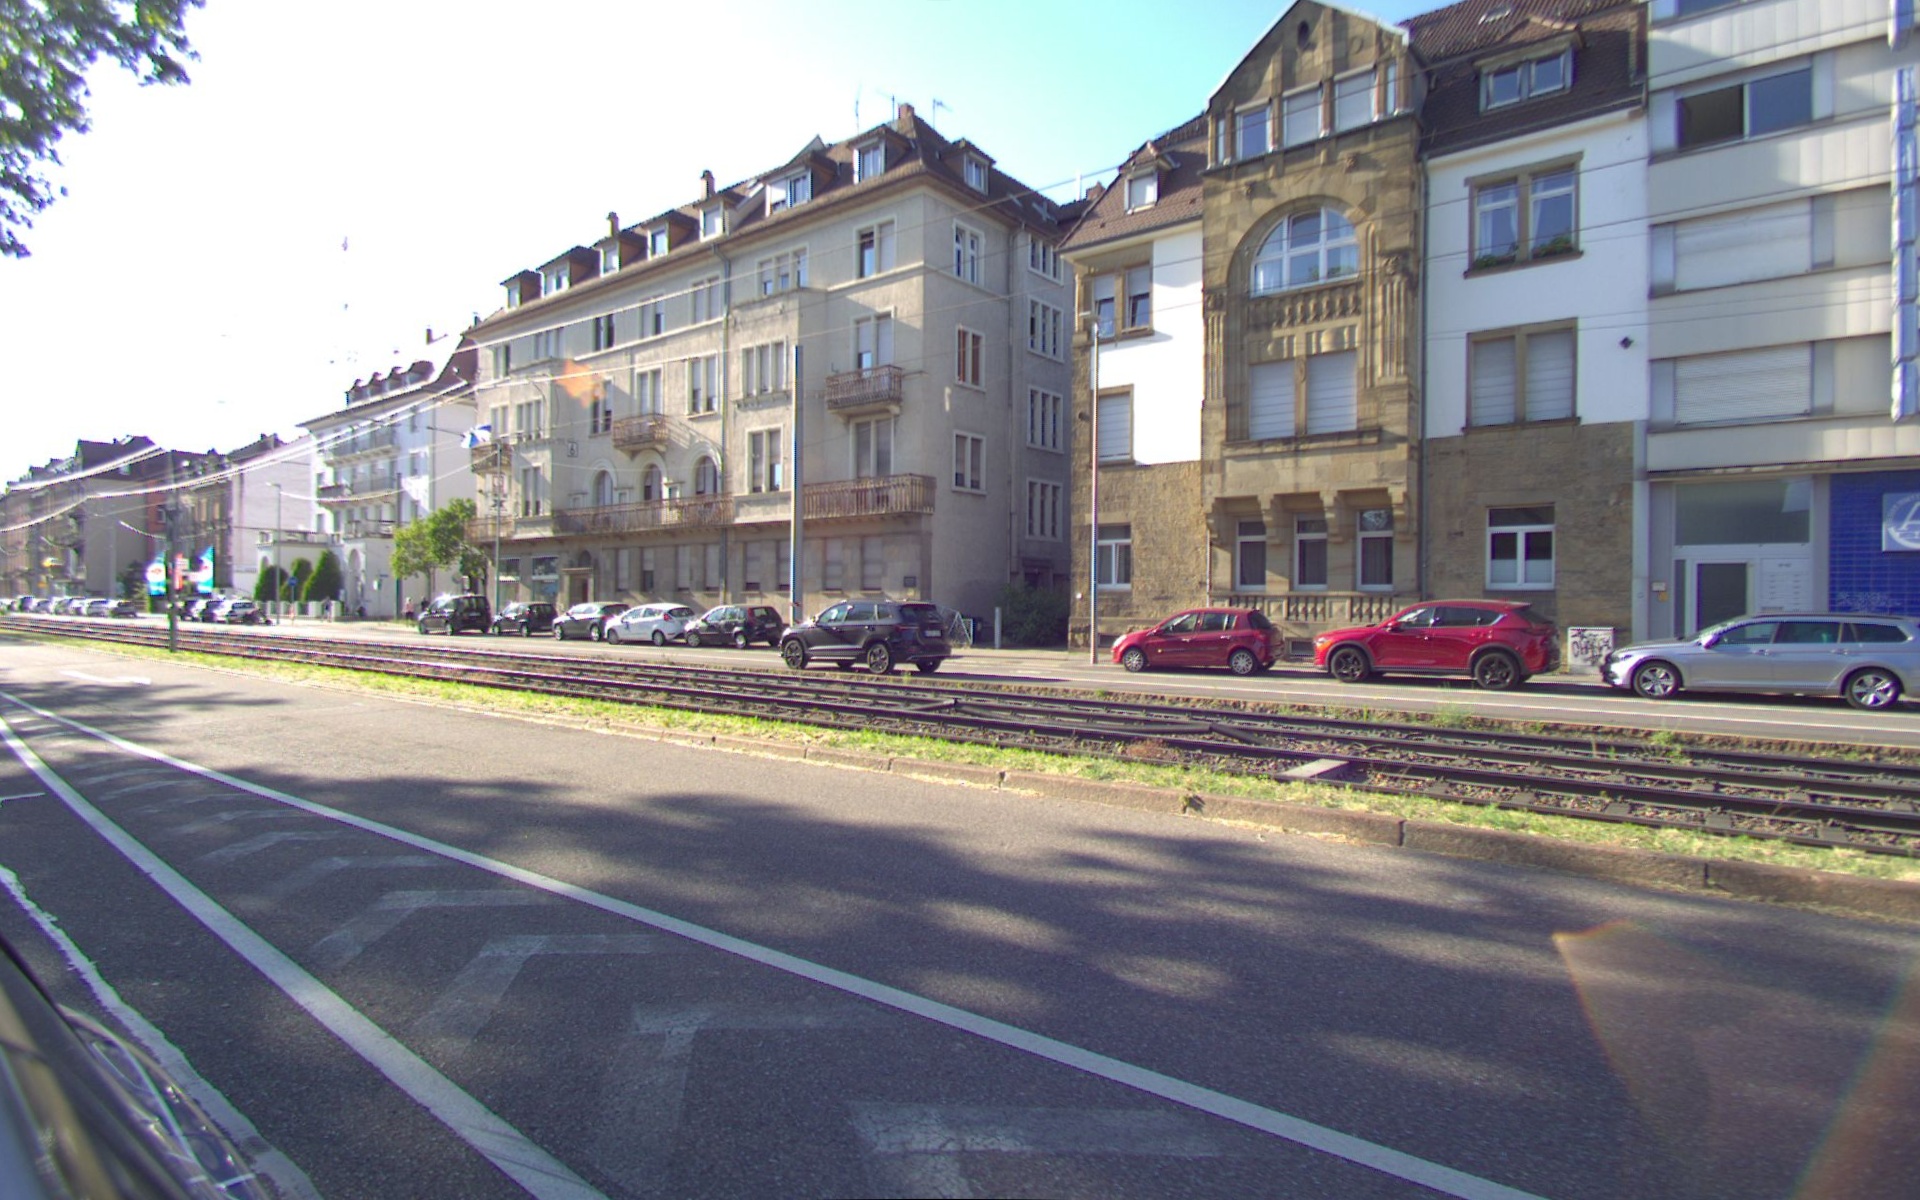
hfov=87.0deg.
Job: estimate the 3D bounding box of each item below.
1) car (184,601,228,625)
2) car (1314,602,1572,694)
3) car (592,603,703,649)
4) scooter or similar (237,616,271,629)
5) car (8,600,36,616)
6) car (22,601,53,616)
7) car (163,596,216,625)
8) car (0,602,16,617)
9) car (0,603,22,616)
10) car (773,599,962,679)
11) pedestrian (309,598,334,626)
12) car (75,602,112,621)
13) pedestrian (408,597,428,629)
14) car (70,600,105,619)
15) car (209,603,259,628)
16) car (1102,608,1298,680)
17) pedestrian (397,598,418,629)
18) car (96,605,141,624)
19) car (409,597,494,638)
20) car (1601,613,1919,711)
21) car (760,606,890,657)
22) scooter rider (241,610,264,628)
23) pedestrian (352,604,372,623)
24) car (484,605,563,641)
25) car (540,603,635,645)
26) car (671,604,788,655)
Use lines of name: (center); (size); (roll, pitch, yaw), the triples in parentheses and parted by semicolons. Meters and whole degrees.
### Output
car: (-52.647, 0.898, 70.656); (4.157, 1.518, 1.618); (1, 2, 41)
car: (9.512, 0.862, 20.122); (4.350, 1.570, 1.815); (0, 1, 40)
car: (-11.364, 0.920, 36.735); (3.971, 1.479, 1.623); (-1, 4, 33)
scooter or similar: (-43.573, 1.366, 62.442); (1.542, 0.776, 0.810); (1, -1, -20)
car: (-107.617, 0.908, 116.114); (4.722, 1.821, 1.644); (0, 1, 38)
car: (-102.483, 0.950, 112.390); (4.623, 1.550, 1.901); (0, 0, 40)
car: (-57.172, 0.729, 75.050); (5.589, 2.025, 2.055); (0, 1, 41)
car: (-118.902, 1.119, 125.773); (3.994, 1.821, 1.777); (0, 1, 38)
car: (-111.936, 1.147, 119.153); (3.977, 1.456, 1.643); (0, 1, 39)
car: (-2.093, 0.813, 22.373); (4.152, 1.613, 1.620); (0, -2, 37)
pedestrian: (-41.563, 0.788, 65.856); (0.930, 1.791, 0.986); (0, 1, 25)
car: (-79.668, 1.044, 93.046); (4.840, 1.707, 1.900); (0, 1, 42)
pedestrian: (-30.227, 0.717, 56.422); (0.843, 1.709, 0.592); (-1, 1, -11)
car: (-83.745, 0.870, 97.092); (4.841, 1.572, 1.900); (1, 4, 42)
car: (-48.367, 0.989, 67.400); (3.998, 1.521, 1.776); (1, 2, 41)
car: (5.519, 0.956, 23.412); (4.026, 1.401, 1.818); (0, 3, 35)
pedestrian: (-30.421, 0.737, 55.699); (0.843, 1.709, 0.592); (-1, 1, -11)
car: (-72.484, 1.211, 87.110); (4.835, 1.471, 1.903); (0, 4, 38)
car: (-23.806, 0.817, 47.329); (4.396, 1.800, 1.845); (-1, 1, 38)
car: (13.534, 0.947, 16.867); (4.677, 1.401, 1.815); (0, 0, 39)
car: (-4.219, 0.934, 31.365); (4.155, 1.480, 1.619); (-1, 0, 40)
scooter rider: (-43.609, 1.174, 62.429); (0.962, 1.097, 0.810); (1, -1, -20)
pedestrian: (-40.157, 0.910, 67.971); (0.892, 1.196, 0.870); (1, 2, 31)
car: (-18.876, 0.952, 43.715); (3.504, 1.401, 1.612); (0, 2, 38)
car: (-14.755, 0.900, 40.003); (4.154, 1.479, 1.619); (0, 3, 39)
car: (-7.851, 0.950, 34.354); (4.155, 1.479, 1.619); (0, 5, 40)
